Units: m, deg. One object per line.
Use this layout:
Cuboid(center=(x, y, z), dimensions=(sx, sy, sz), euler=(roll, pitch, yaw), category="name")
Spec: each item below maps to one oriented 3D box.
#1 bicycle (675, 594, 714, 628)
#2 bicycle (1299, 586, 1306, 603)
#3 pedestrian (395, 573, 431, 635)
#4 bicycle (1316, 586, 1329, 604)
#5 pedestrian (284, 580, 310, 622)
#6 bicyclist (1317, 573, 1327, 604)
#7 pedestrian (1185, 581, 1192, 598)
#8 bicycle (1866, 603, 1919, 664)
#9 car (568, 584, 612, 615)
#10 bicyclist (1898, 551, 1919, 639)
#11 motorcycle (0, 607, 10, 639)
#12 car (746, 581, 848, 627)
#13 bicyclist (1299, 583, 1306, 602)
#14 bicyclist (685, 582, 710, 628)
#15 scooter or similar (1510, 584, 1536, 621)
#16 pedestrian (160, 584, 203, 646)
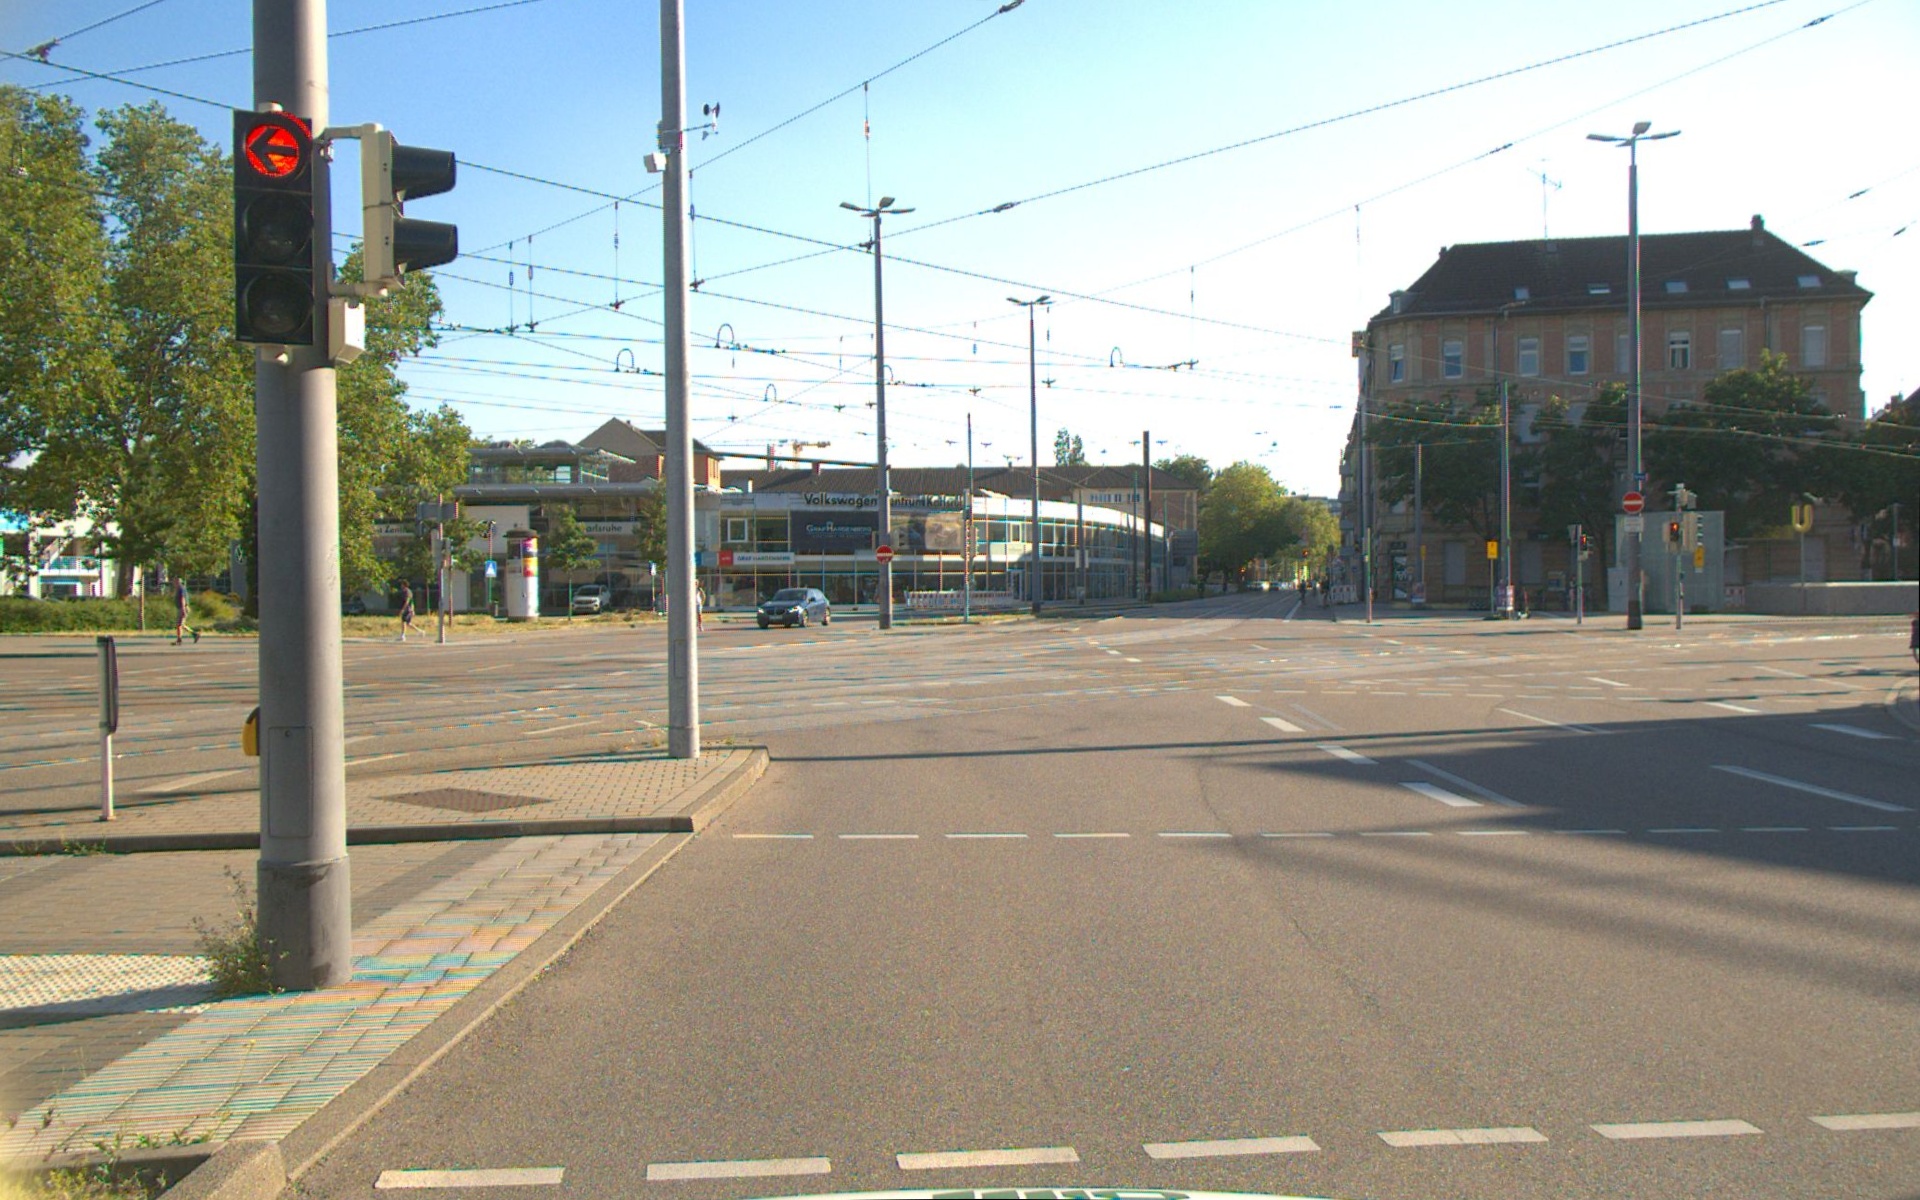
Cuboid(center=(-9.544, 0.390, 59.483), dimensions=(0.599, 1.210, 1.870), euler=(1, 0, 17), category="bicycle")
Cuboid(center=(19.884, -0.337, 96.090), dimensions=(0.401, 0.958, 1.847), euler=(1, 0, 12), category="bicycle")
Cuboid(center=(-17.012, 0.124, 51.416), dimensions=(0.777, 1.919, 0.759), euler=(1, -1, 6), category="pedestrian")
Cuboid(center=(20.403, -0.261, 93.143), dimensions=(0.643, 0.969, 1.601), euler=(1, 0, 14), category="bicycle")
Cuboid(center=(-27.367, 0.031, 68.240), dimensions=(0.839, 1.723, 0.496), euler=(1, -1, -3), category="pedestrian")
Cuboid(center=(20.417, -0.633, 93.243), dimensions=(0.507, 1.730, 0.516), euler=(1, -1, 17), category="bicyclist")
Cuboid(center=(27.036, -1.274, 196.013), dimensions=(0.702, 2.049, 0.758), euler=(1, -1, 1), category="pedestrian")
Cuboid(center=(17.592, 0.617, 30.187), dimensions=(0.524, 1.067, 2.316), euler=(1, 1, -9), category="bicycle")
Cuboid(center=(-22.112, -0.016, 98.972), dimensions=(1.954, 1.780, 3.997), euler=(1, 0, -4), category="car")
Cuboid(center=(17.619, -0.084, 30.074), dimensions=(0.505, 1.584, 0.945), euler=(1, 0, -9), category="bicyclist")
Cuboid(center=(-28.926, 0.664, 48.513), dimensions=(1.748, 0.930, 0.675), euler=(1, 0, -21), category="motorcycle")
Cuboid(center=(-6.032, 0.162, 61.645), dimensions=(1.954, 1.613, 3.996), euler=(1, 0, 26), category="car")
Cuboid(center=(19.913, -0.437, 96.216), dimensions=(0.399, 1.136, 0.399), euler=(1, -1, 11), category="bicyclist")
Cuboid(center=(-9.476, 0.170, 59.689), dimensions=(0.585, 1.644, 0.823), euler=(1, -1, 17), category="bicyclist")
Cuboid(center=(21.577, 0.097, 63.432), dimensions=(0.769, 1.400, 1.910), euler=(1, 0, 13), category="scooter or similar")
Cuboid(center=(-22.251, 0.425, 47.279), dimensions=(0.777, 1.736, 0.759), euler=(1, -1, 6), category="pedestrian")
